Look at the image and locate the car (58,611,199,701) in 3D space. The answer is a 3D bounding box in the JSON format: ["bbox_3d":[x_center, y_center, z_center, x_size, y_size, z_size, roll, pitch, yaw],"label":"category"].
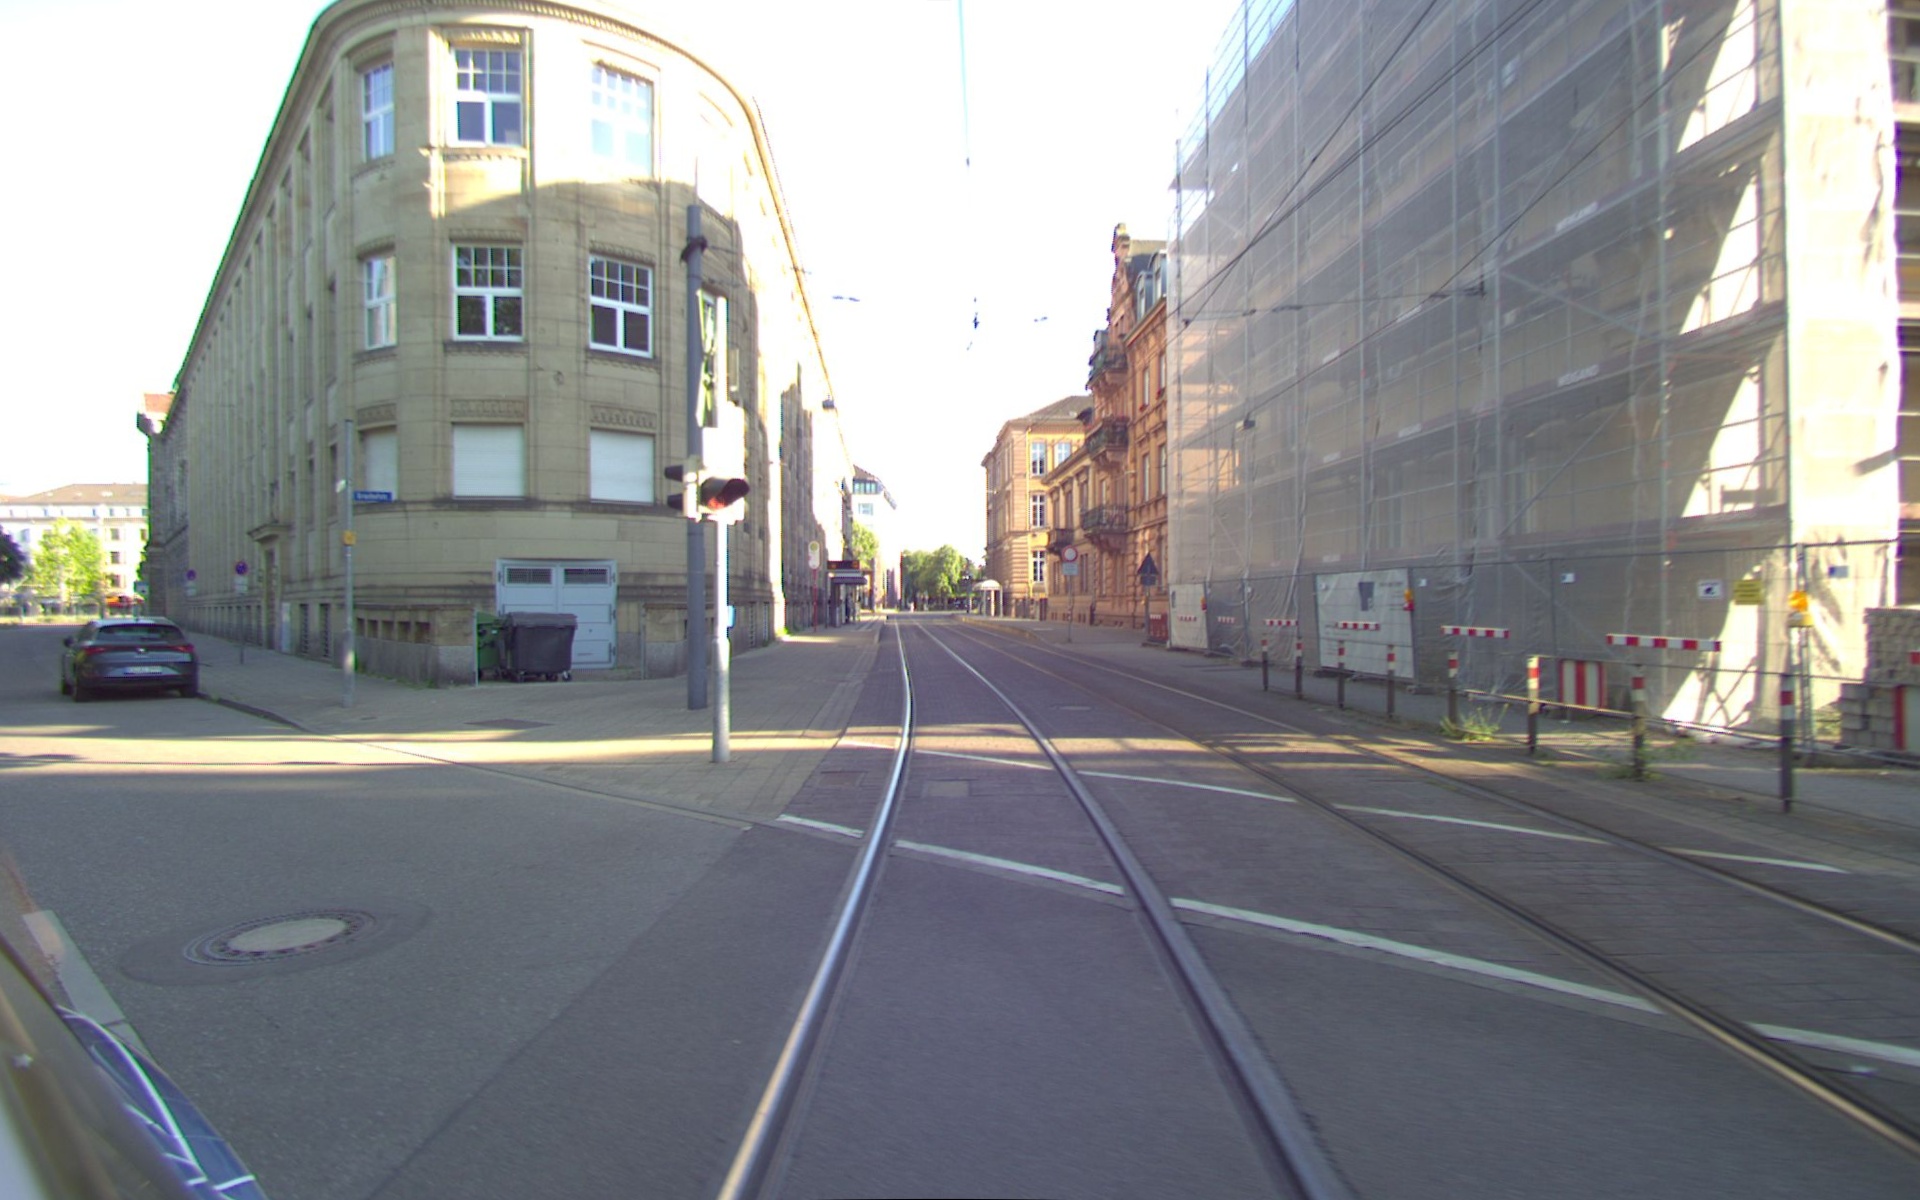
[{"bbox_3d":[-15.622,0.956,18.944,1.723,1.459,4.212,0,0,-44],"label":"car"}]

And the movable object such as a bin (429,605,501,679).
[{"bbox_3d":[-10.532,0.865,21.506,1.130,1.497,1.632,0,0,-35],"label":"movable object such as a bin"}]

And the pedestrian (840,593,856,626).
[{"bbox_3d":[-6.427,0.528,58.103,0.743,1.850,0.820,0,0,5],"label":"pedestrian"}]

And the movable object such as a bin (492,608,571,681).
[{"bbox_3d":[-9.031,0.892,21.268,1.167,1.439,1.926,0,0,-35],"label":"movable object such as a bin"}]

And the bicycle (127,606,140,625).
[{"bbox_3d":[-54.112,0.983,66.271,0.450,1.218,1.883,0,0,-32],"label":"bicycle"}]

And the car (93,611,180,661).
[{"bbox_3d":[-26.714,1.121,32.787,1.724,1.445,4.563,-2,1,-45],"label":"car"}]
